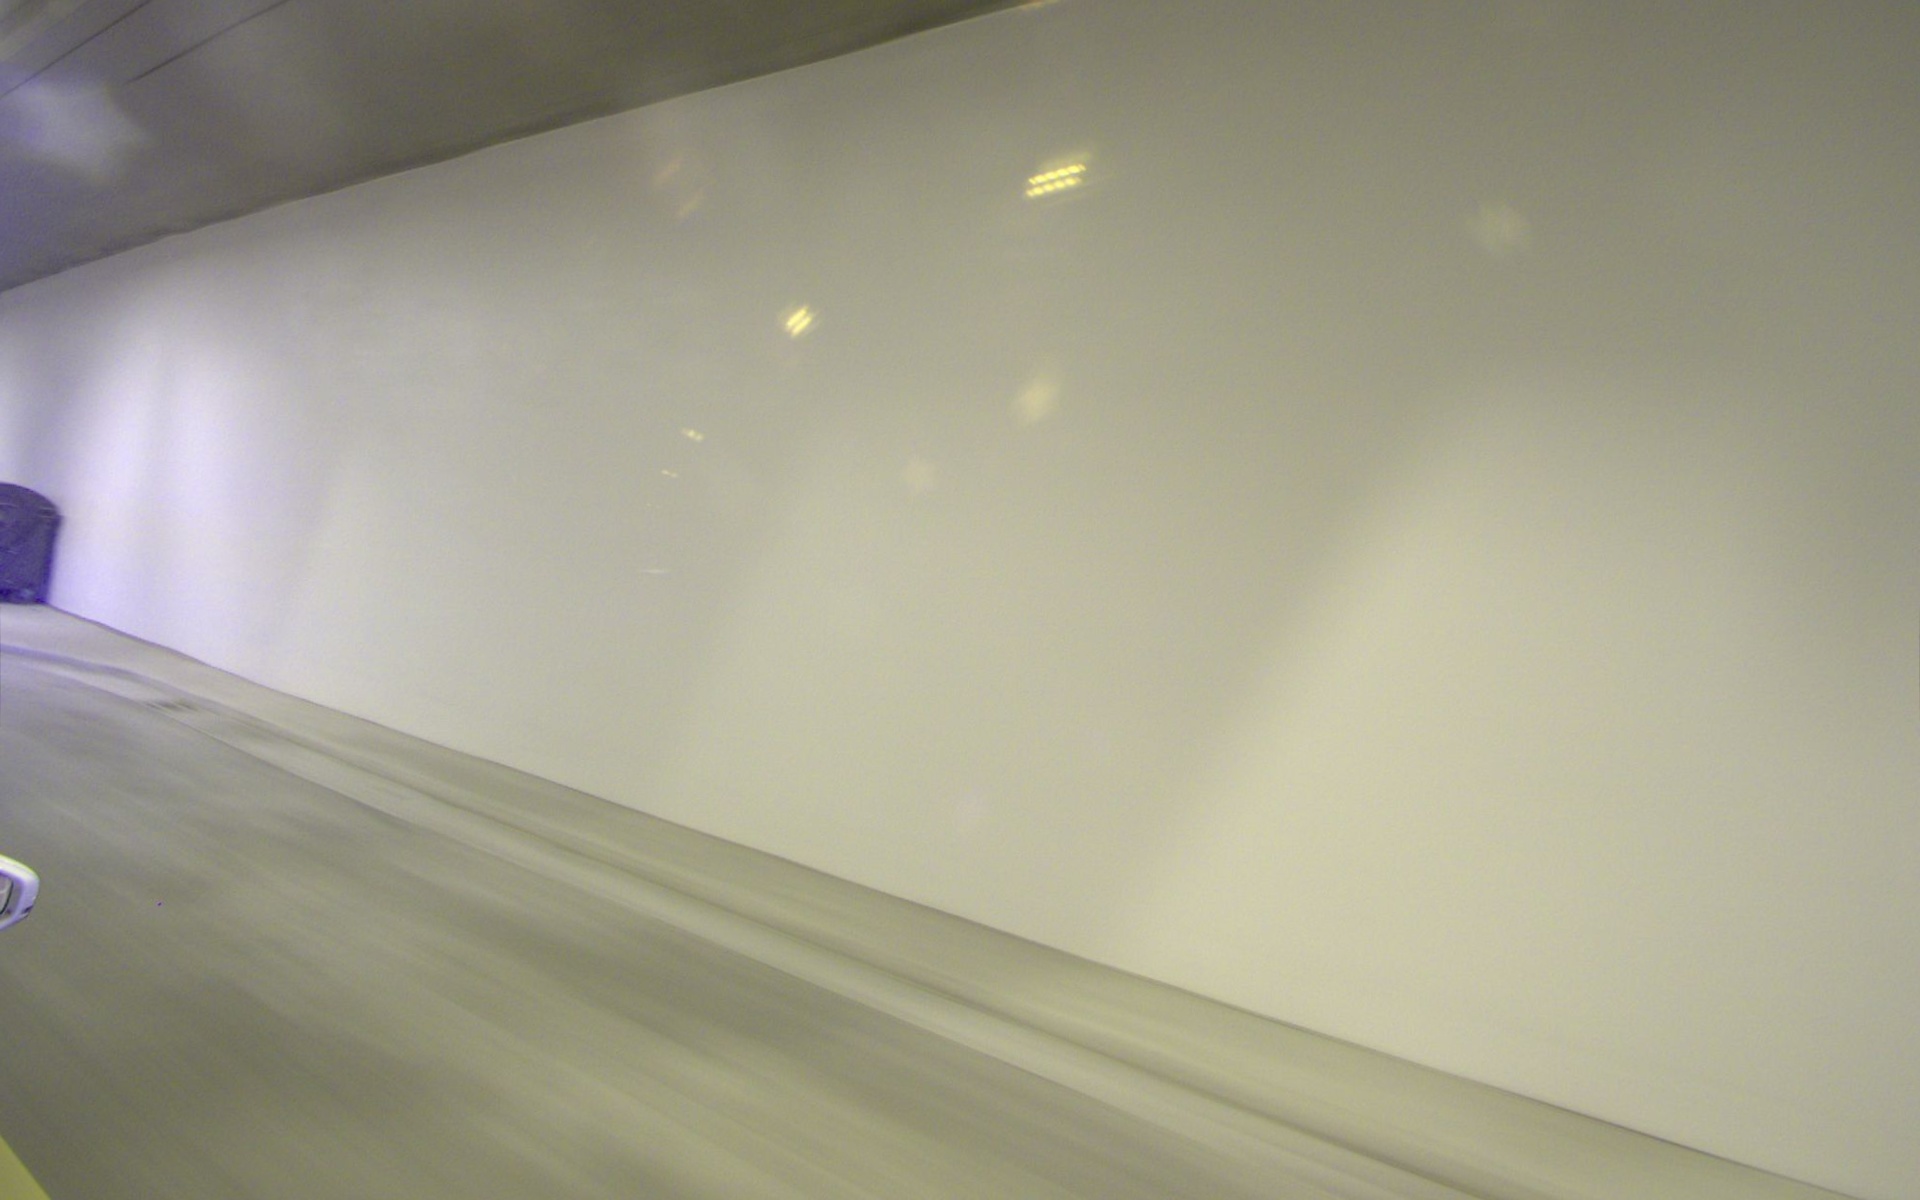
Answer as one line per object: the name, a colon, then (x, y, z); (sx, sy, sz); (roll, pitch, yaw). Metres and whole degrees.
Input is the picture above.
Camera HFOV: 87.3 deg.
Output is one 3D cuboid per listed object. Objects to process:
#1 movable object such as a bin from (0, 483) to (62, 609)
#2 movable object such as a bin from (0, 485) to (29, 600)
movable object such as a bin: (-11.994, -0.719, 12.317); (1.301, 1.462, 1.098); (6, -1, 35)
movable object such as a bin: (-13.131, -0.839, 13.064); (1.342, 1.462, 1.146); (6, -1, 35)
